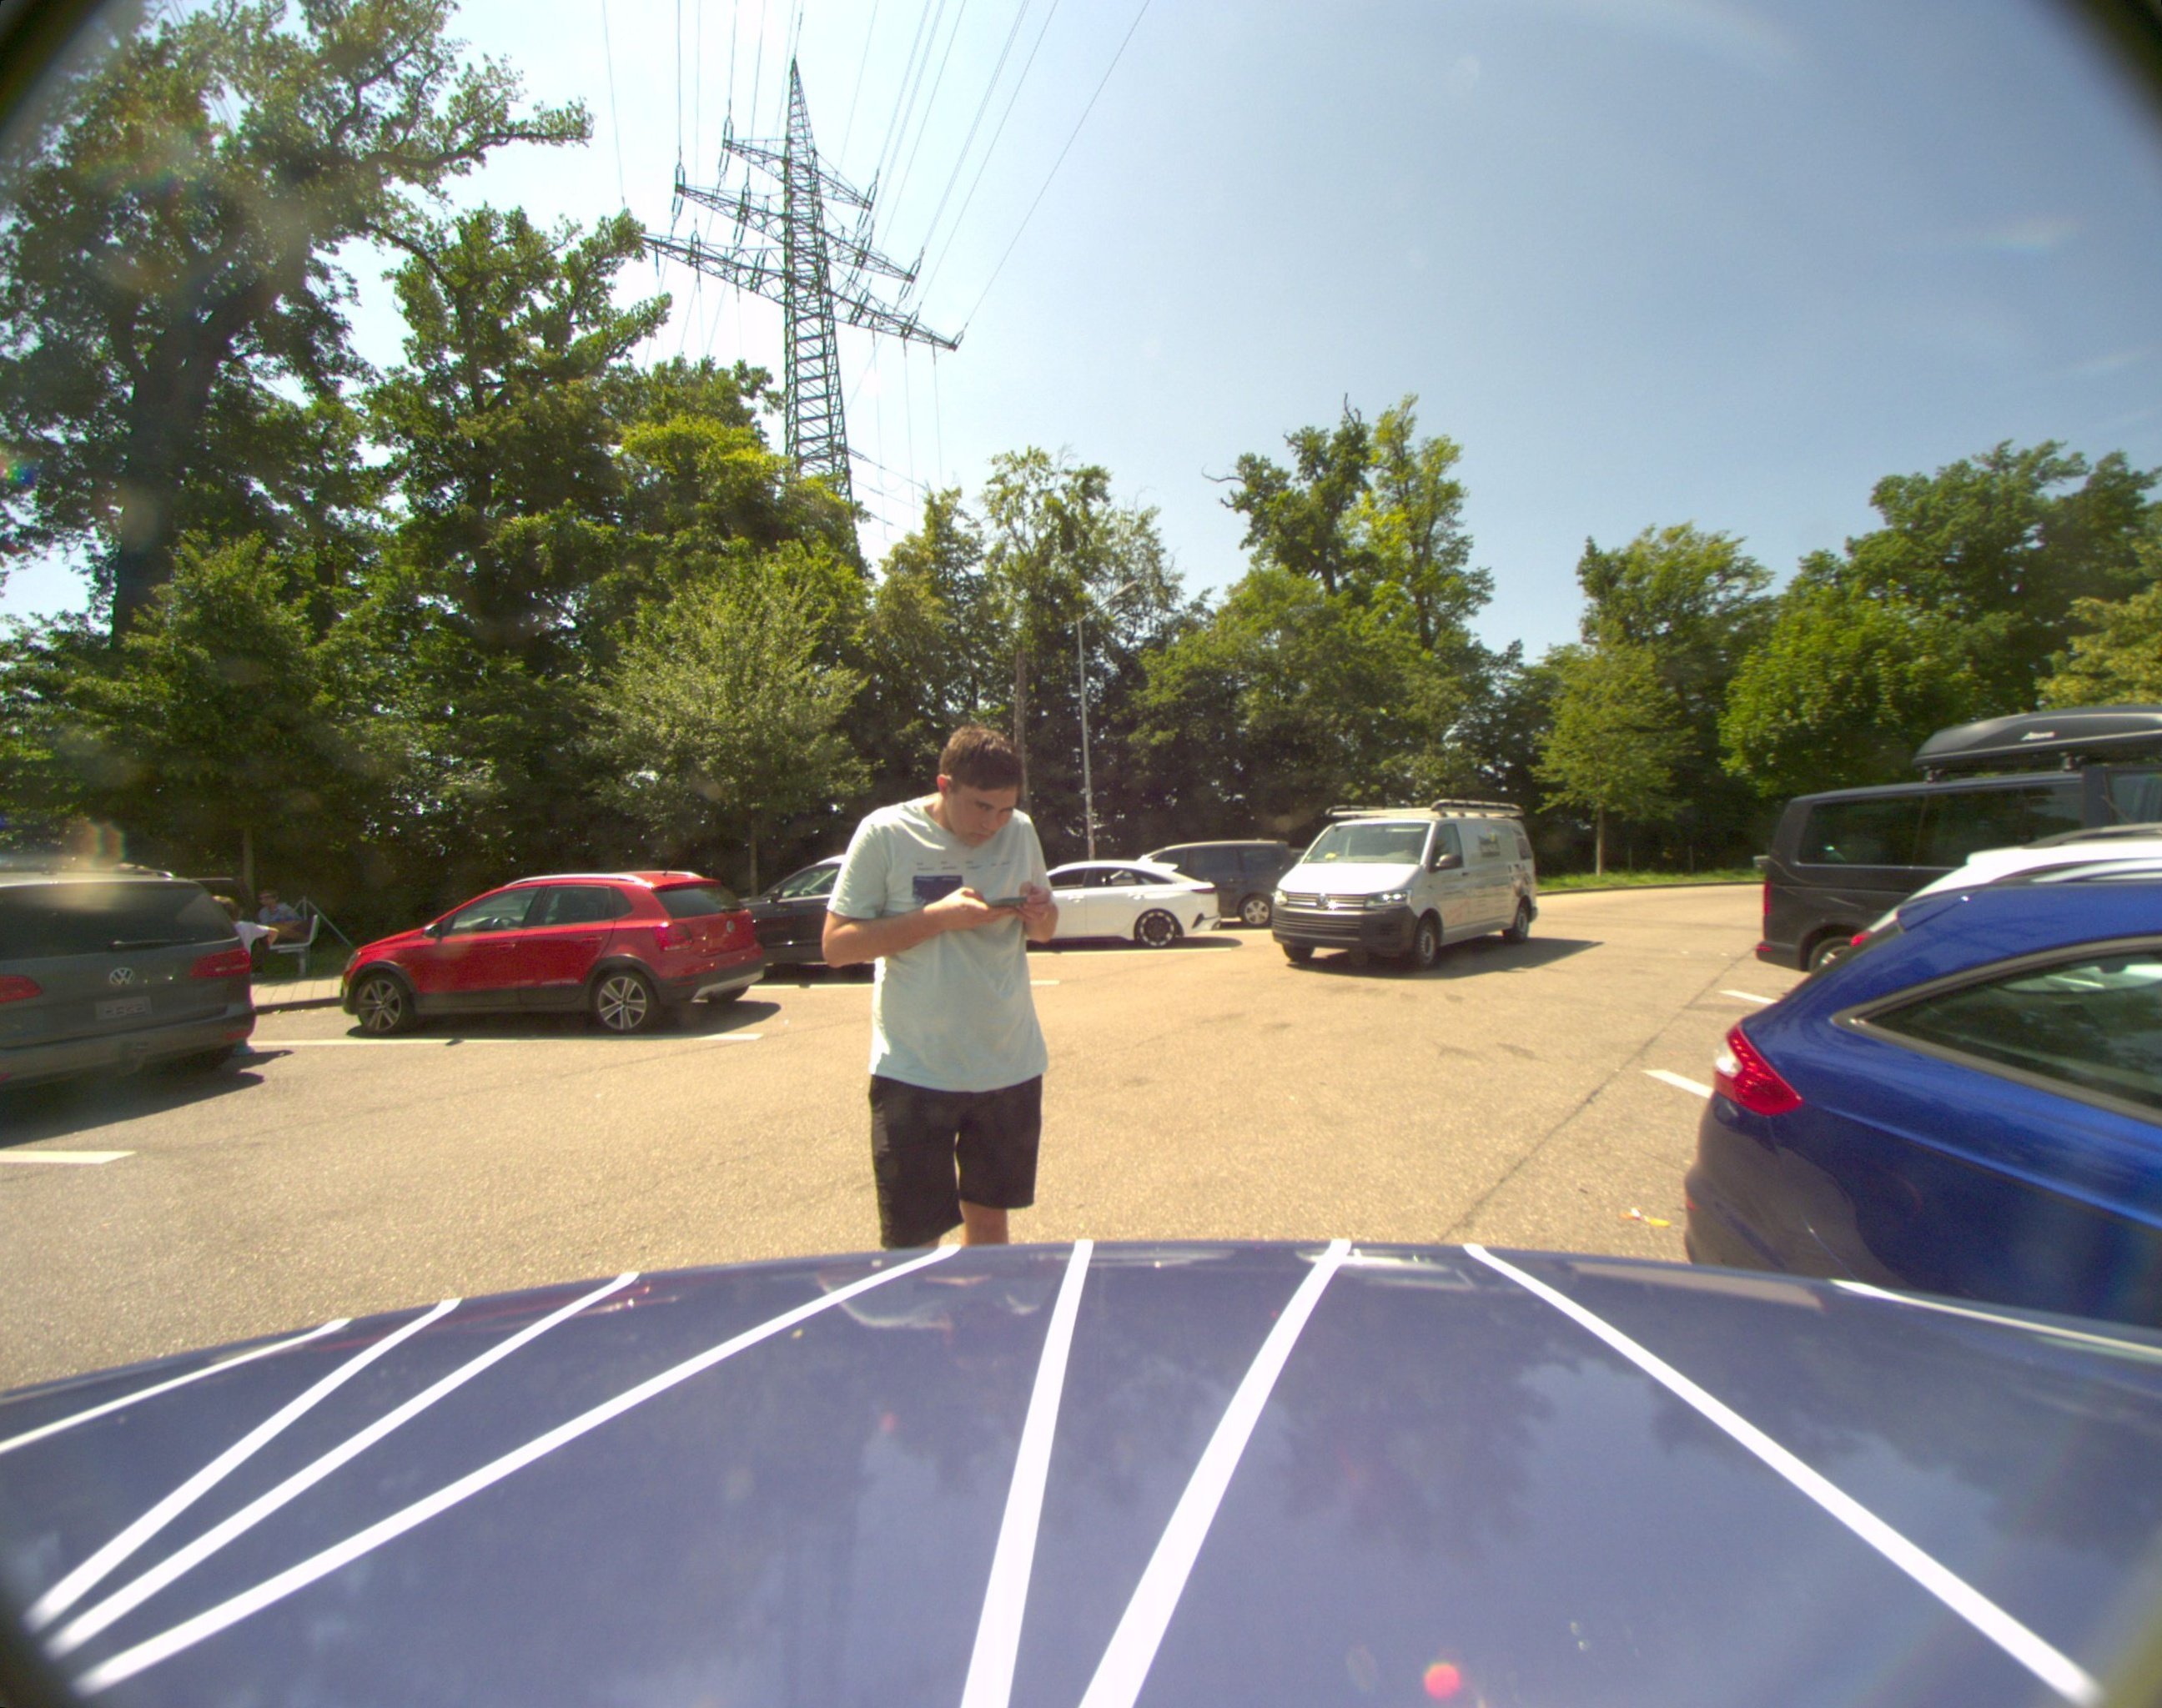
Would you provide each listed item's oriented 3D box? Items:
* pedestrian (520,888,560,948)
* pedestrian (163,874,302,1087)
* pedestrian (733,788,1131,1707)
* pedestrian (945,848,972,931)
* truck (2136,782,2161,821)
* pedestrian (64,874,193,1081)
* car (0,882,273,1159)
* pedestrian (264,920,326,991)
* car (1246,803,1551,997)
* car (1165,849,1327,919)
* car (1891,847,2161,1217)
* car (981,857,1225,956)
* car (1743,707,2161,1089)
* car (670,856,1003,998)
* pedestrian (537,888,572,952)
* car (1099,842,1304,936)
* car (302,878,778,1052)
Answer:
[{"bbox_3d":[-10.973,1.293,15.421,0.413,1.186,0.443,-2,1,12],"label":"pedestrian"},{"bbox_3d":[-7.269,1.043,6.524,0.481,1.712,0.589,-2,1,22],"label":"pedestrian"},{"bbox_3d":[-0.385,0.781,1.907,0.741,1.818,0.613,-2,0,-34],"label":"pedestrian"},{"bbox_3d":[-2.935,0.843,18.203,0.573,1.942,0.430,-2,0,-11],"label":"pedestrian"},{"bbox_3d":[40.230,-1.975,27.040,1.168,1.367,2.882,-2,-1,-19],"label":"truck"},{"bbox_3d":[-8.322,1.046,6.653,0.436,1.712,0.511,-2,1,17],"label":"pedestrian"},{"bbox_3d":[-8.382,1.102,5.415,3.903,1.607,1.705,-2,1,11],"label":"car"},{"bbox_3d":[-10.784,1.377,10.439,0.503,0.874,0.512,-3,1,-39],"label":"pedestrian"},{"bbox_3d":[4.711,0.456,10.707,5.445,2.092,1.839,-1,1,-43],"label":"car"},{"bbox_3d":[3.886,0.691,18.311,3.585,1.493,1.707,-2,1,8],"label":"car"},{"bbox_3d":[4.681,0.656,2.199,1.344,1.352,3.114,-2,0,1],"label":"car"},{"bbox_3d":[0.395,0.841,12.811,3.773,1.445,1.848,-2,0,4],"label":"car"},{"bbox_3d":[7.344,0.247,5.198,1.788,2.304,4.084,-2,0,-5],"label":"car"},{"bbox_3d":[-3.109,0.911,10.221,3.866,1.607,1.709,-2,0,0],"label":"car"},{"bbox_3d":[-10.137,1.268,14.625,0.366,1.186,0.356,-2,1,21],"label":"pedestrian"},{"bbox_3d":[2.363,0.684,15.430,3.850,1.678,1.755,-2,0,4],"label":"car"},{"bbox_3d":[-5.276,1.057,7.667,3.745,1.458,1.621,-2,0,7],"label":"car"}]
